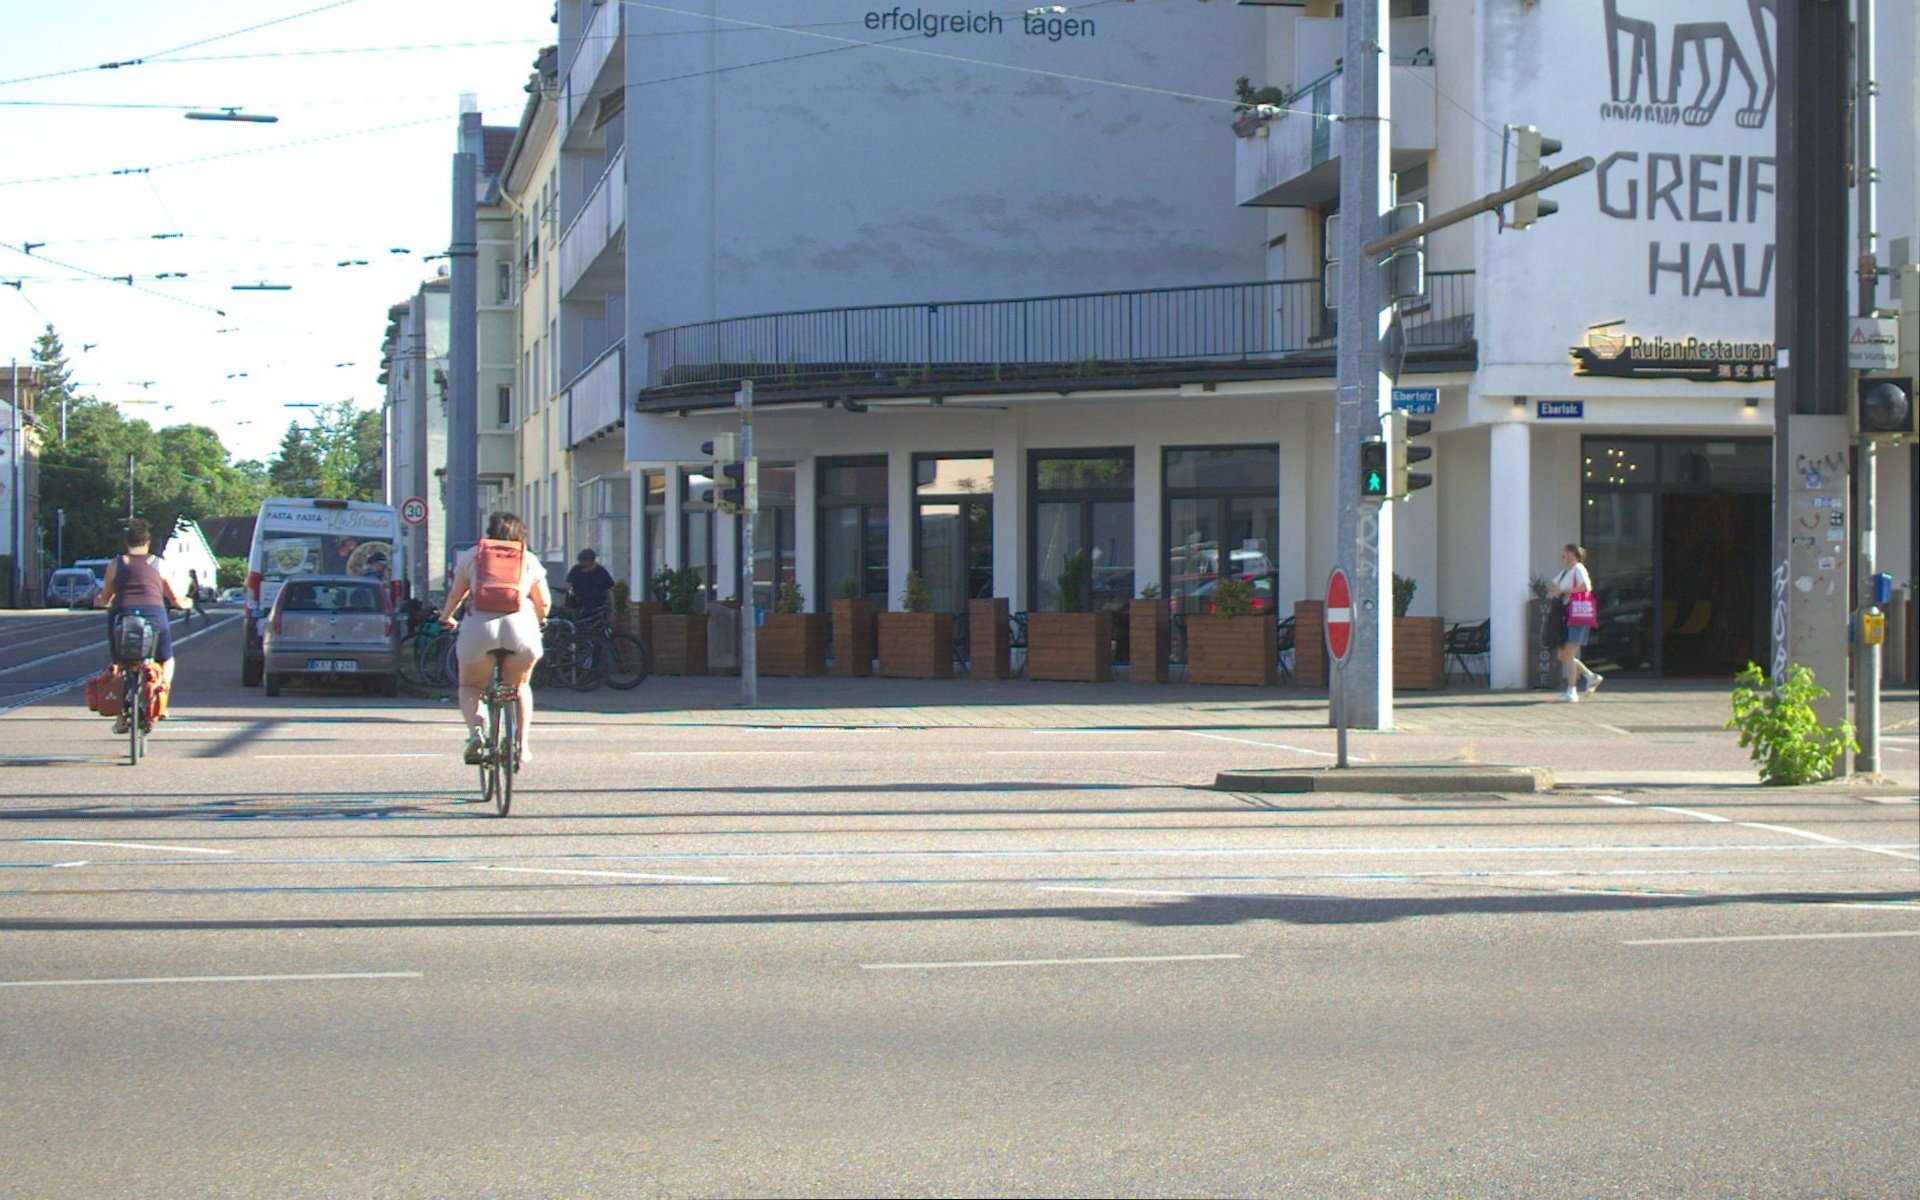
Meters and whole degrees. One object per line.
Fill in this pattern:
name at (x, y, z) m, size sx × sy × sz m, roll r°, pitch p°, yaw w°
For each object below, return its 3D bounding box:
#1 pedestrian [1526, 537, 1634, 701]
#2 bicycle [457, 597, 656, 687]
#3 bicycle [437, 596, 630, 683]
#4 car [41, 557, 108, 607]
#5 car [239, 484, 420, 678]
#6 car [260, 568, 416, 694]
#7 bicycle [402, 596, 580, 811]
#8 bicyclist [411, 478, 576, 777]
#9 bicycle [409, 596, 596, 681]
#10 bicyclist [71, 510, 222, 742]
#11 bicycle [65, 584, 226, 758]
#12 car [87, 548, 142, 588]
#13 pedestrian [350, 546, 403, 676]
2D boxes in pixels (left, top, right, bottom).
pedestrian at (6.770, 0.203, 37.554) m, size 0.906 × 1.740 × 0.737 m, roll 2°, pitch 0°, yaw -10°
bicycle at (-4.768, 0.488, 40.592) m, size 2.250 × 0.998 × 0.856 m, roll -1°, pitch 0°, yaw -11°
bicycle at (-5.206, 0.469, 41.919) m, size 2.250 × 0.998 × 0.856 m, roll -1°, pitch 0°, yaw -11°
car at (-36.456, -0.722, 141.687) m, size 2.217 × 1.925 × 4.950 m, roll 2°, pitch 0°, yaw -10°
car at (-8.703, -0.250, 47.203) m, size 2.264 × 2.473 × 5.009 m, roll 1°, pitch 0°, yaw -12°
car at (-7.696, 0.363, 42.308) m, size 1.657 × 1.426 × 3.889 m, roll 2°, pitch 0°, yaw -13°
bicycle at (-2.747, 0.586, 20.332) m, size 0.811 × 1.177 × 2.064 m, roll 2°, pitch 0°, yaw -2°
bicyclist at (-2.729, 0.160, 20.189) m, size 0.811 × 1.686 × 0.935 m, roll 2°, pitch 0°, yaw -2°
bicycle at (-5.721, 0.473, 42.963) m, size 2.250 × 0.998 × 0.856 m, roll -1°, pitch 0°, yaw -11°
bicyclist at (-6.066, 0.193, 25.693) m, size 0.940 × 1.667 × 1.079 m, roll 2°, pitch 0°, yaw -8°
bicycle at (-6.072, 0.512, 25.741) m, size 0.940 × 1.219 × 2.095 m, roll 2°, pitch 0°, yaw -8°
car at (-39.110, -1.479, 159.180) m, size 2.073 × 1.756 × 5.038 m, roll 2°, pitch 0°, yaw -10°
pedestrian at (-7.559, 0.139, 44.507) m, size 0.613 × 1.648 × 0.671 m, roll 2°, pitch 0°, yaw -10°
